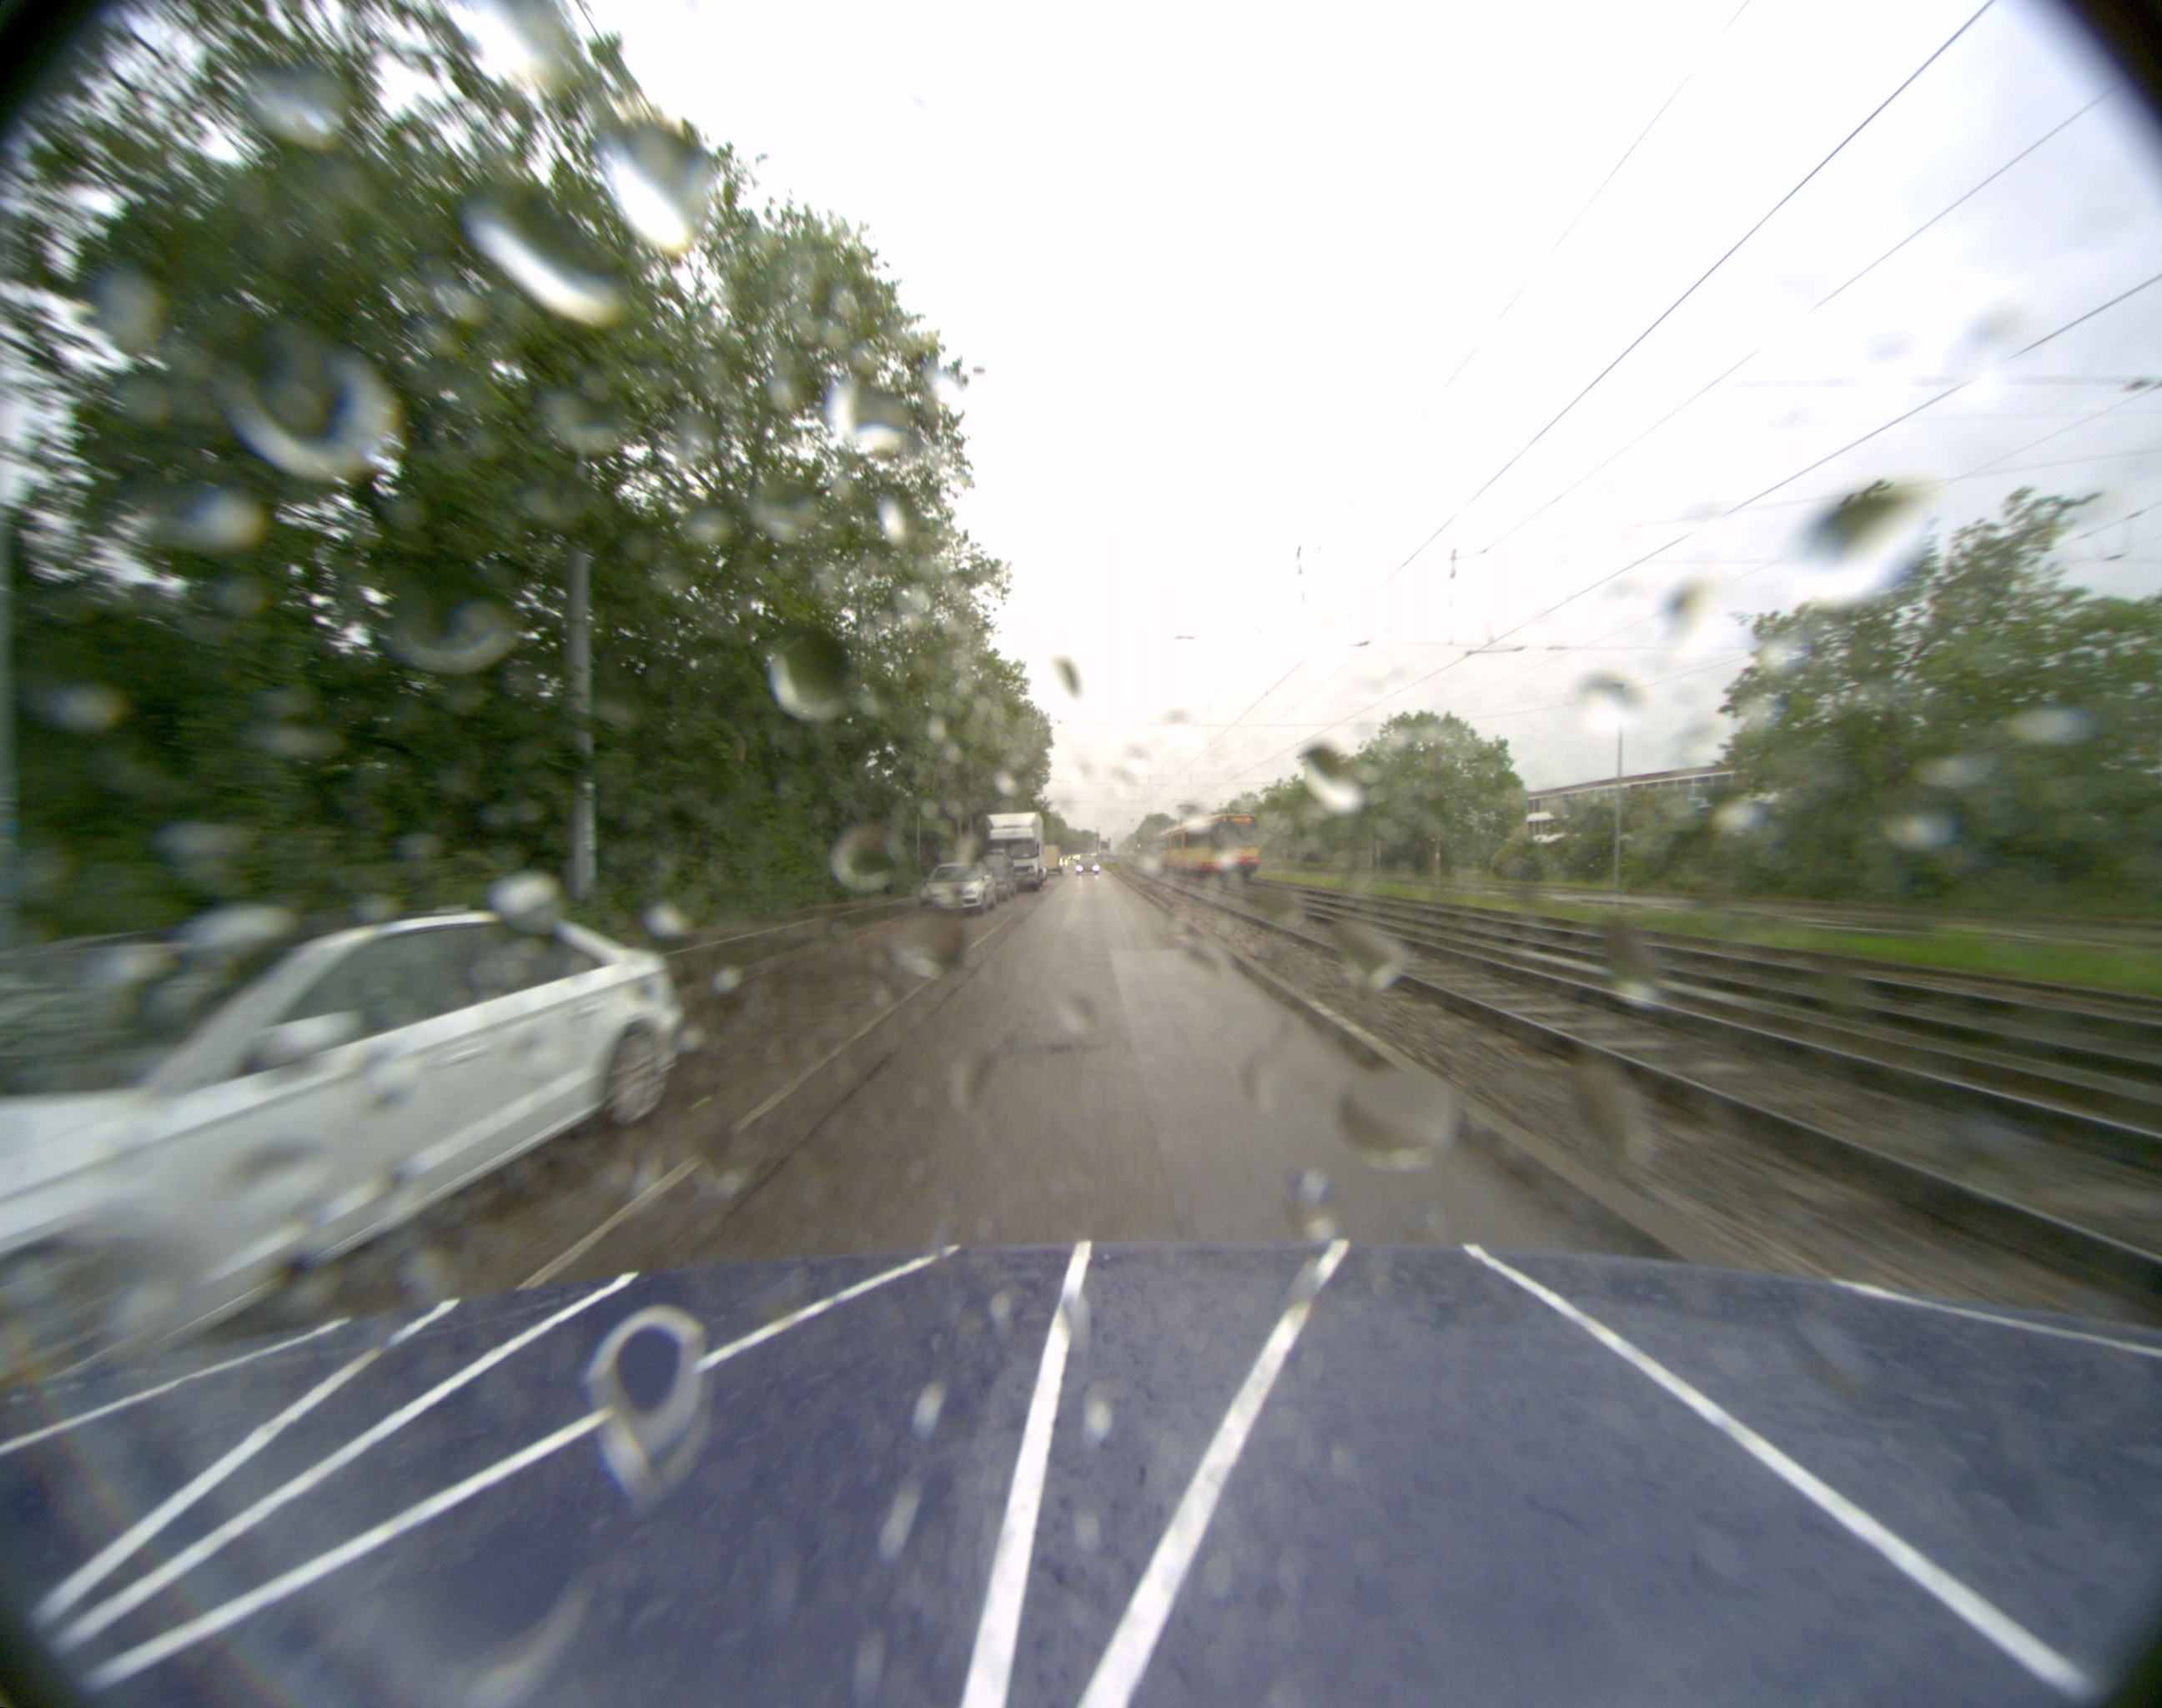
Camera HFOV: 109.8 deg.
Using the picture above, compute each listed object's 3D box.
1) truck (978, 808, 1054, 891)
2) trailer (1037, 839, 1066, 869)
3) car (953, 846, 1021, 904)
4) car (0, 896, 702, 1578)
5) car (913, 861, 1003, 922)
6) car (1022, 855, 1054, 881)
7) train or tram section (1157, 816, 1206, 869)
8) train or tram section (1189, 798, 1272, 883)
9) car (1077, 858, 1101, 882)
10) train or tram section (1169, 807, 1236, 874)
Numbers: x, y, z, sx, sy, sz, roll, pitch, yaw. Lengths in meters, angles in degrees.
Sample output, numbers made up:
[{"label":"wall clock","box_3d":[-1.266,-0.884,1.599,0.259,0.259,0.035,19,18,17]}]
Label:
[{"label":"truck","box_3d":[-3.137,-0.284,39.525,2.782,3.683,9.851,-1,1,1]},{"label":"trailer","box_3d":[-2.744,-0.044,72.023,2.171,2.742,5.677,-1,1,3]},{"label":"car","box_3d":[-3.528,0.746,29.497,1.881,2.002,4.980,-2,0,1]},{"label":"car","box_3d":[-3.579,1.075,2.981,1.824,1.477,4.480,-3,0,1]},{"label":"car","box_3d":[-3.487,1.004,22.328,1.817,1.451,4.345,-2,1,1]},{"label":"car","box_3d":[-2.942,0.951,53.040,1.717,1.520,4.000,-8,0,1]},{"label":"train or tram section","box_3d":[8.652,-0.944,67.270,2.813,4.125,13.019,-1,0,1]},{"label":"train or tram section","box_3d":[8.113,-0.744,42.582,2.817,4.126,10.268,-1,1,2]},{"label":"car","box_3d":[0.740,1.408,67.204,1.998,2.002,4.000,-1,1,3]},{"label":"train or tram section","box_3d":[8.378,-0.890,54.227,2.813,4.126,13.018,-1,1,1]}]
